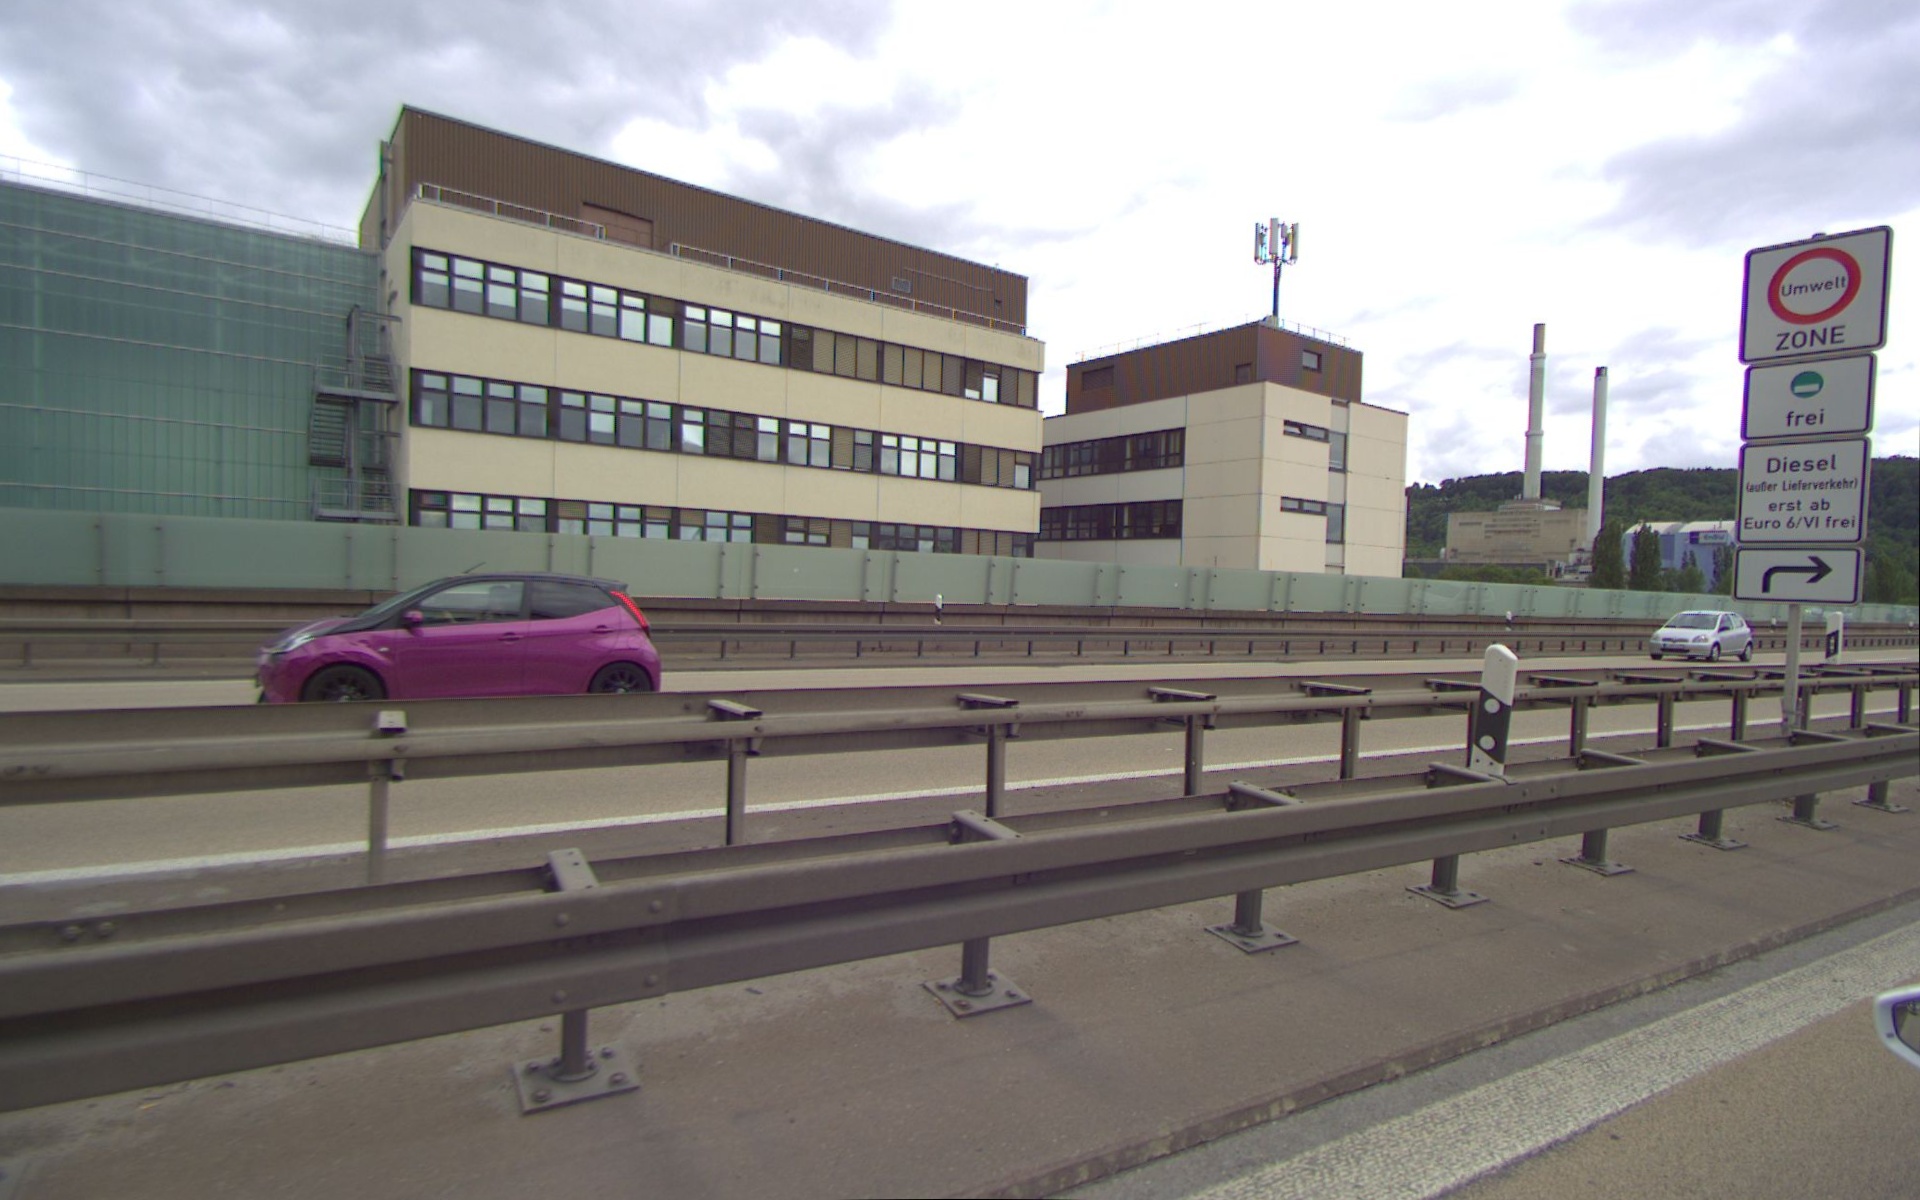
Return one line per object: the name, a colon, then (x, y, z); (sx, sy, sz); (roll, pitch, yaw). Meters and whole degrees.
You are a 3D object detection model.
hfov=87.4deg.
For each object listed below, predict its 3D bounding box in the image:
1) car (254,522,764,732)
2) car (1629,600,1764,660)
car: (-4.429, 0.273, 10.190); (4.362, 1.697, 1.981); (2, 0, -34)
car: (22.621, 0.911, 30.824); (4.362, 1.697, 1.981); (2, 0, -34)
